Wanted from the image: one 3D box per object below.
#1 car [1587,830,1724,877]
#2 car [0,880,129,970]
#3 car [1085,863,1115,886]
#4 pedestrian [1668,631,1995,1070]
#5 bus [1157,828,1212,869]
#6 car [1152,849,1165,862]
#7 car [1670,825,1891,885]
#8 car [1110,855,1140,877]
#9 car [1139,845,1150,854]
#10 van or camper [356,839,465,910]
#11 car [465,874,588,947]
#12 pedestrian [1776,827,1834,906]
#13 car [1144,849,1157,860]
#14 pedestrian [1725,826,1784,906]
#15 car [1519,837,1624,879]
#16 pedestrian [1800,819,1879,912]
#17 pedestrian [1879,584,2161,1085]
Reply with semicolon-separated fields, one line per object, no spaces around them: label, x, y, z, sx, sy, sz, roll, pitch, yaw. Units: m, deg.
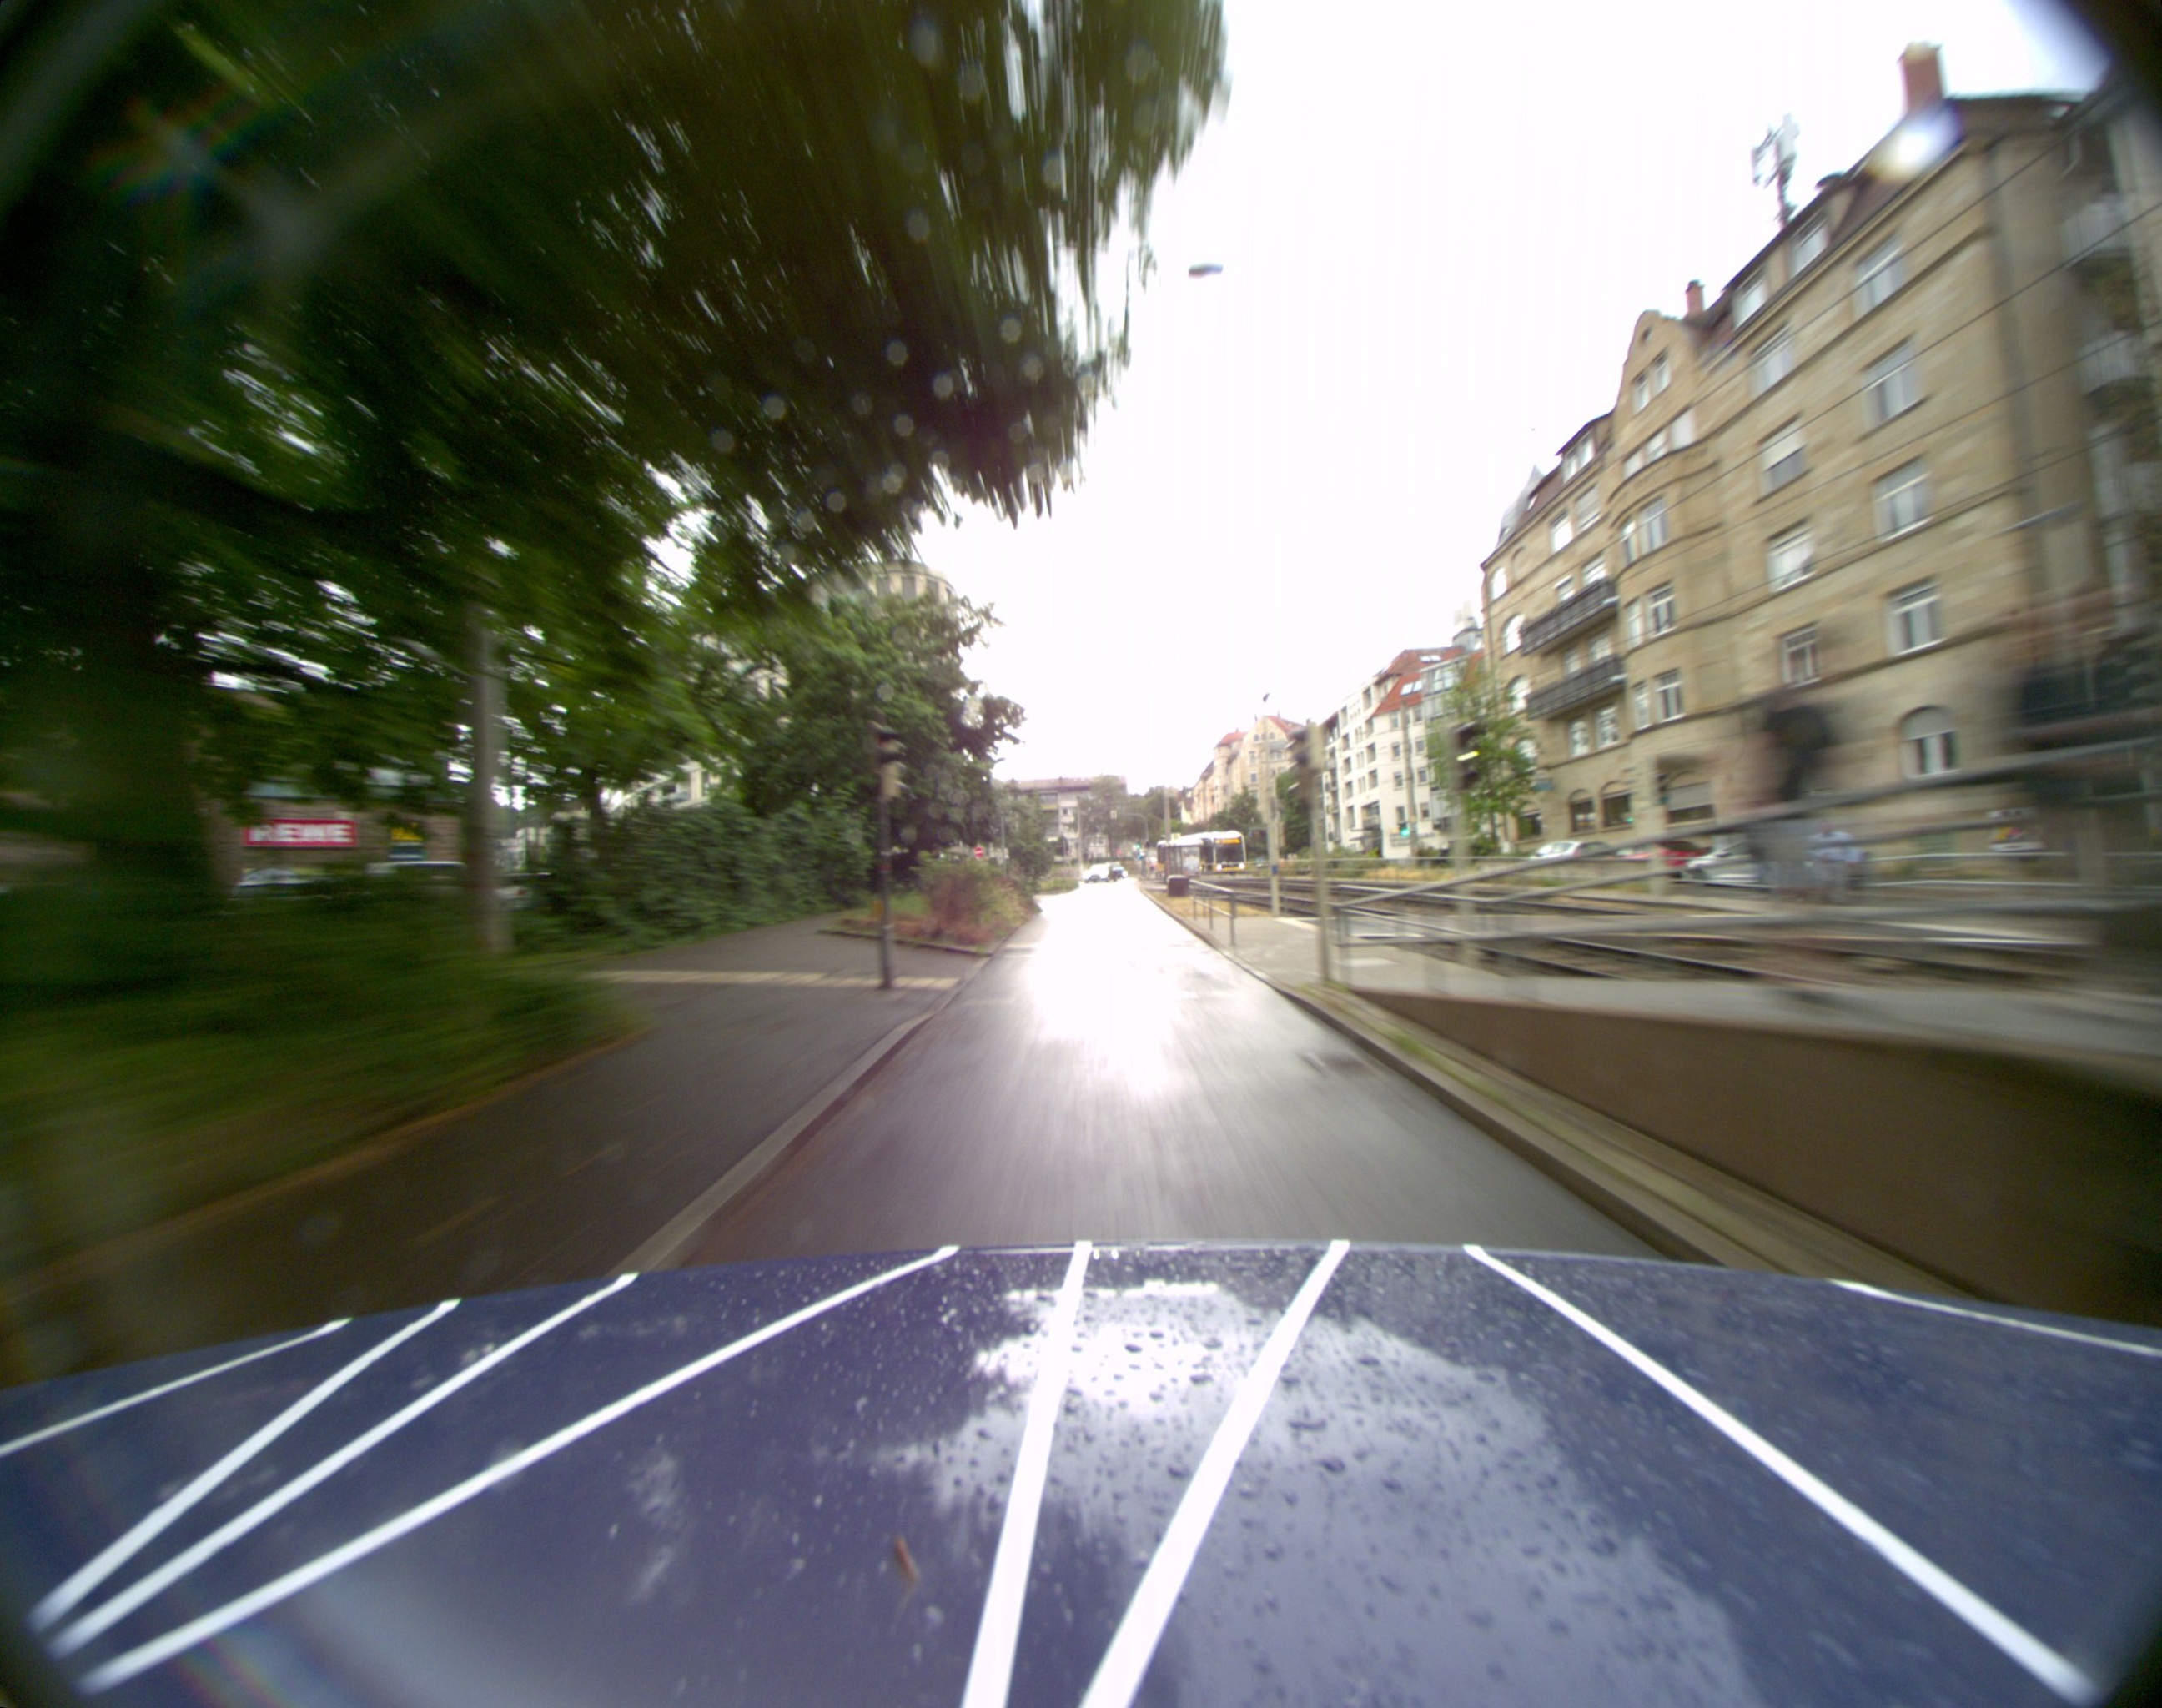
car;19.785;-0.011;26.406;1.634;1.434;4.175;-2;0;1
car;-23.290;1.498;16.989;3.989;1.718;2.004;-1;1;32
car;1.474;1.617;60.714;1.813;1.606;4.302;-3;0;-5
pedestrian;3.405;-0.011;3.538;0.652;1.774;0.847;-2;1;1
bus;9.364;-0.493;69.908;2.598;3.449;9.101;-2;0;-7
car;12.716;0.225;125.047;1.998;2.001;4.001;-2;0;4
car;19.401;0.022;21.462;1.721;1.434;4.868;-2;0;0
car;4.165;1.128;72.713;2.000;2.002;3.997;-3;0;-9
car;12.866;-0.912;154.046;1.805;1.824;4.283;-2;0;-2
van or camper;-19.495;0.520;21.998;2.004;1.823;5.166;-1;1;-45
car;-17.588;1.749;24.039;4.497;2.002;2.004;-3;0;40
pedestrian;14.549;0.245;15.277;0.521;1.523;0.621;-2;0;2
car;12.877;0.108;140.902;1.805;1.824;4.283;-2;0;-2
pedestrian;13.962;0.245;15.761;0.626;1.584;0.621;-2;0;2
car;19.850;0.167;30.977;1.634;1.538;4.175;-2;0;1
pedestrian;14.387;0.218;14.424;0.722;1.690;0.729;-2;0;2
pedestrian;3.590;-0.045;2.641;0.652;1.551;0.685;-2;-8;1
